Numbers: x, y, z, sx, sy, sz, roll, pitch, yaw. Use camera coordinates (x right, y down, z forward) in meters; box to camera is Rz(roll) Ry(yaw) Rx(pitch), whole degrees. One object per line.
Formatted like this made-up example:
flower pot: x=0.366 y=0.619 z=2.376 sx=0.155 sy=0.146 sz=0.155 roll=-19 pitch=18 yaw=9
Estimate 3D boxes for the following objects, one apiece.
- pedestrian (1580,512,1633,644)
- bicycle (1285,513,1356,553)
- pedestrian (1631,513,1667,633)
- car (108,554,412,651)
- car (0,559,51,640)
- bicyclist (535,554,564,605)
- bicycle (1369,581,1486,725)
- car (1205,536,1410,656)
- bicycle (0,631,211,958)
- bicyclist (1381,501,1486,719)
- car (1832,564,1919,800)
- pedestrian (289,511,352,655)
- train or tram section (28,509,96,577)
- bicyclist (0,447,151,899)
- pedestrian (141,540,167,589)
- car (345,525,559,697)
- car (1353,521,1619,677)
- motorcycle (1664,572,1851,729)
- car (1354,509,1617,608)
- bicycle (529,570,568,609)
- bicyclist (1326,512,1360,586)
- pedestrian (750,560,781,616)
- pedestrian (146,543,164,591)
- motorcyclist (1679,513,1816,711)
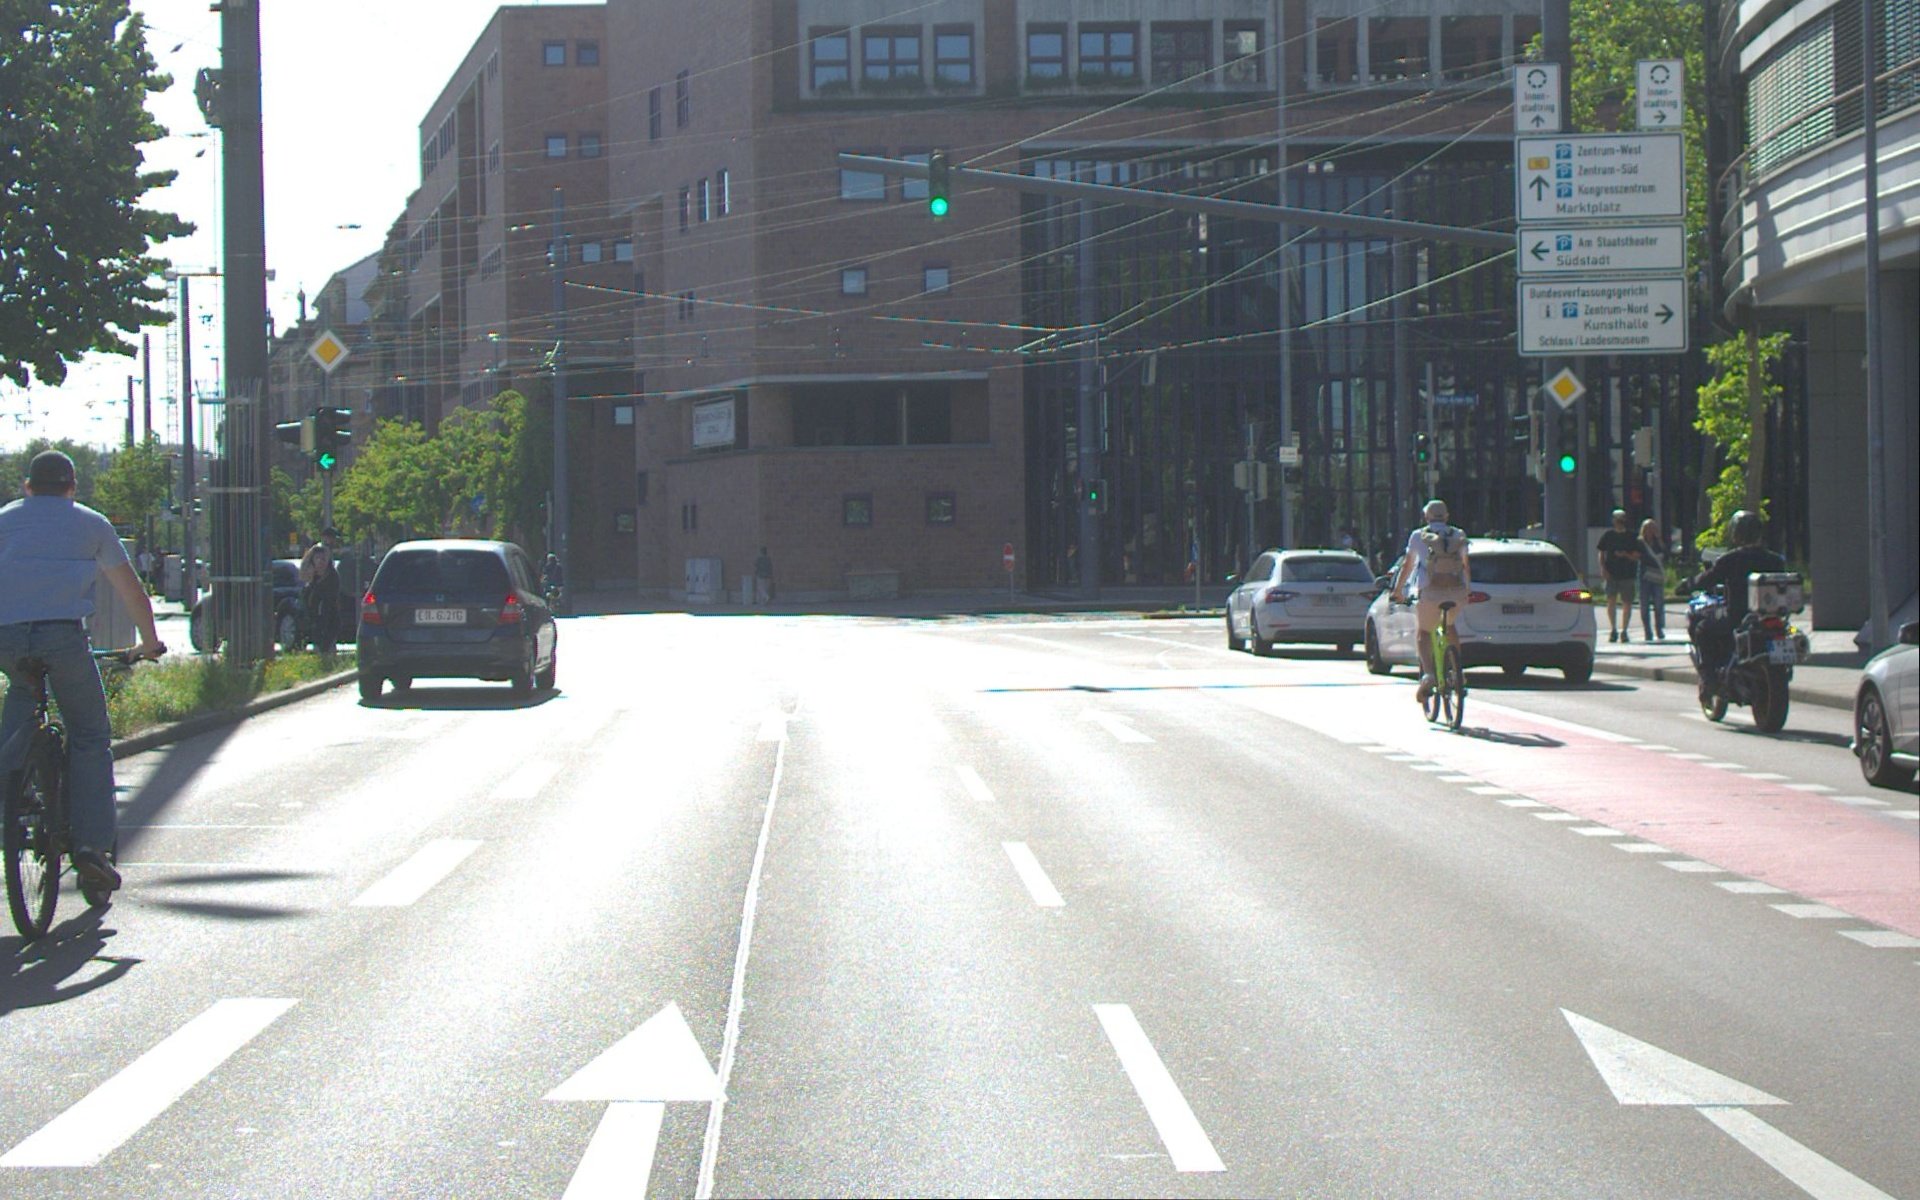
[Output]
pedestrian: x=8.991 y=-0.313 z=47.799 sx=0.638 sy=1.792 sz=0.608 roll=-2 pitch=2 yaw=8
bicycle: x=9.192 y=-1.716 z=87.714 sx=1.668 sy=0.991 sz=0.673 roll=-2 pitch=1 yaw=-23
pedestrian: x=9.576 y=-0.384 z=47.802 sx=0.427 sy=1.640 sz=0.562 roll=-2 pitch=2 yaw=10
car: x=-11.070 y=0.035 z=54.316 sx=4.512 sy=1.444 sz=1.730 roll=-1 pitch=1 yaw=24
car: x=-18.548 y=-0.001 z=62.871 sx=3.579 sy=1.444 sz=1.656 roll=0 pitch=1 yaw=31
bicyclist: x=-10.738 y=-0.531 z=89.912 sx=0.592 sy=1.331 sz=0.933 roll=-1 pitch=1 yaw=-17
bicycle: x=3.876 y=0.425 z=28.615 sx=0.649 sy=1.106 sz=1.758 roll=-1 pitch=2 yaw=-3
car: x=4.781 y=-0.087 z=47.858 sx=1.905 sy=1.536 sz=4.139 roll=1 pitch=1 yaw=-8
bicycle: x=-3.534 y=0.698 z=13.460 sx=0.686 sy=1.066 sz=2.697 roll=1 pitch=1 yaw=-2
bicyclist: x=3.886 y=0.066 z=28.256 sx=0.649 sy=1.746 sz=1.045 roll=-1 pitch=2 yaw=-3
car: x=6.602 y=0.501 z=19.982 sx=1.721 sy=1.391 sz=4.788 roll=-1 pitch=1 yaw=-2
pedestrian: x=-7.880 y=-0.219 z=42.367 sx=0.669 sy=1.747 sz=0.769 roll=-1 pitch=1 yaw=-15
train or tram section: x=-41.481 y=-2.637 z=159.000 sx=2.326 sy=2.993 sz=13.164 roll=-1 pitch=1 yaw=-12
bicyclist: x=-3.519 y=0.258 z=13.163 sx=0.617 sy=1.664 sz=1.020 roll=1 pitch=1 yaw=-2
pedestrian: x=-29.156 y=-1.281 z=124.404 sx=0.716 sy=1.729 sz=0.602 roll=-2 pitch=1 yaw=-33
car: x=-4.925 y=0.071 z=33.724 sx=1.726 sy=1.558 sz=3.678 roll=-1 pitch=1 yaw=-3
car: x=5.687 y=-0.055 z=37.688 sx=1.906 sy=1.578 sz=4.139 roll=1 pitch=1 yaw=-5
motorcycle: x=6.350 y=0.375 z=27.511 sx=0.829 sy=1.197 sz=2.390 roll=0 pitch=1 yaw=-3
car: x=8.990 y=-0.713 z=58.920 sx=3.986 sy=1.578 sz=1.913 roll=1 pitch=2 yaw=-16
bicycle: x=-10.792 y=-0.284 z=90.140 sx=0.603 sy=0.982 sz=2.315 roll=-1 pitch=1 yaw=-17
bicyclist: x=9.788 y=-1.296 z=87.892 sx=0.605 sy=1.877 sz=0.651 roll=-2 pitch=1 yaw=-22
pedestrian: x=-5.492 y=-0.342 z=96.971 sx=0.617 sy=1.558 sz=0.987 roll=-1 pitch=1 yaw=-17
pedestrian: x=-28.314 y=-1.161 z=120.902 sx=0.538 sy=1.649 sz=0.707 roll=-1 pitch=1 yaw=-17
motorcyclist: x=6.292 y=0.093 z=27.511 sx=0.829 sy=1.556 sz=0.942 roll=0 pitch=0 yaw=-3
